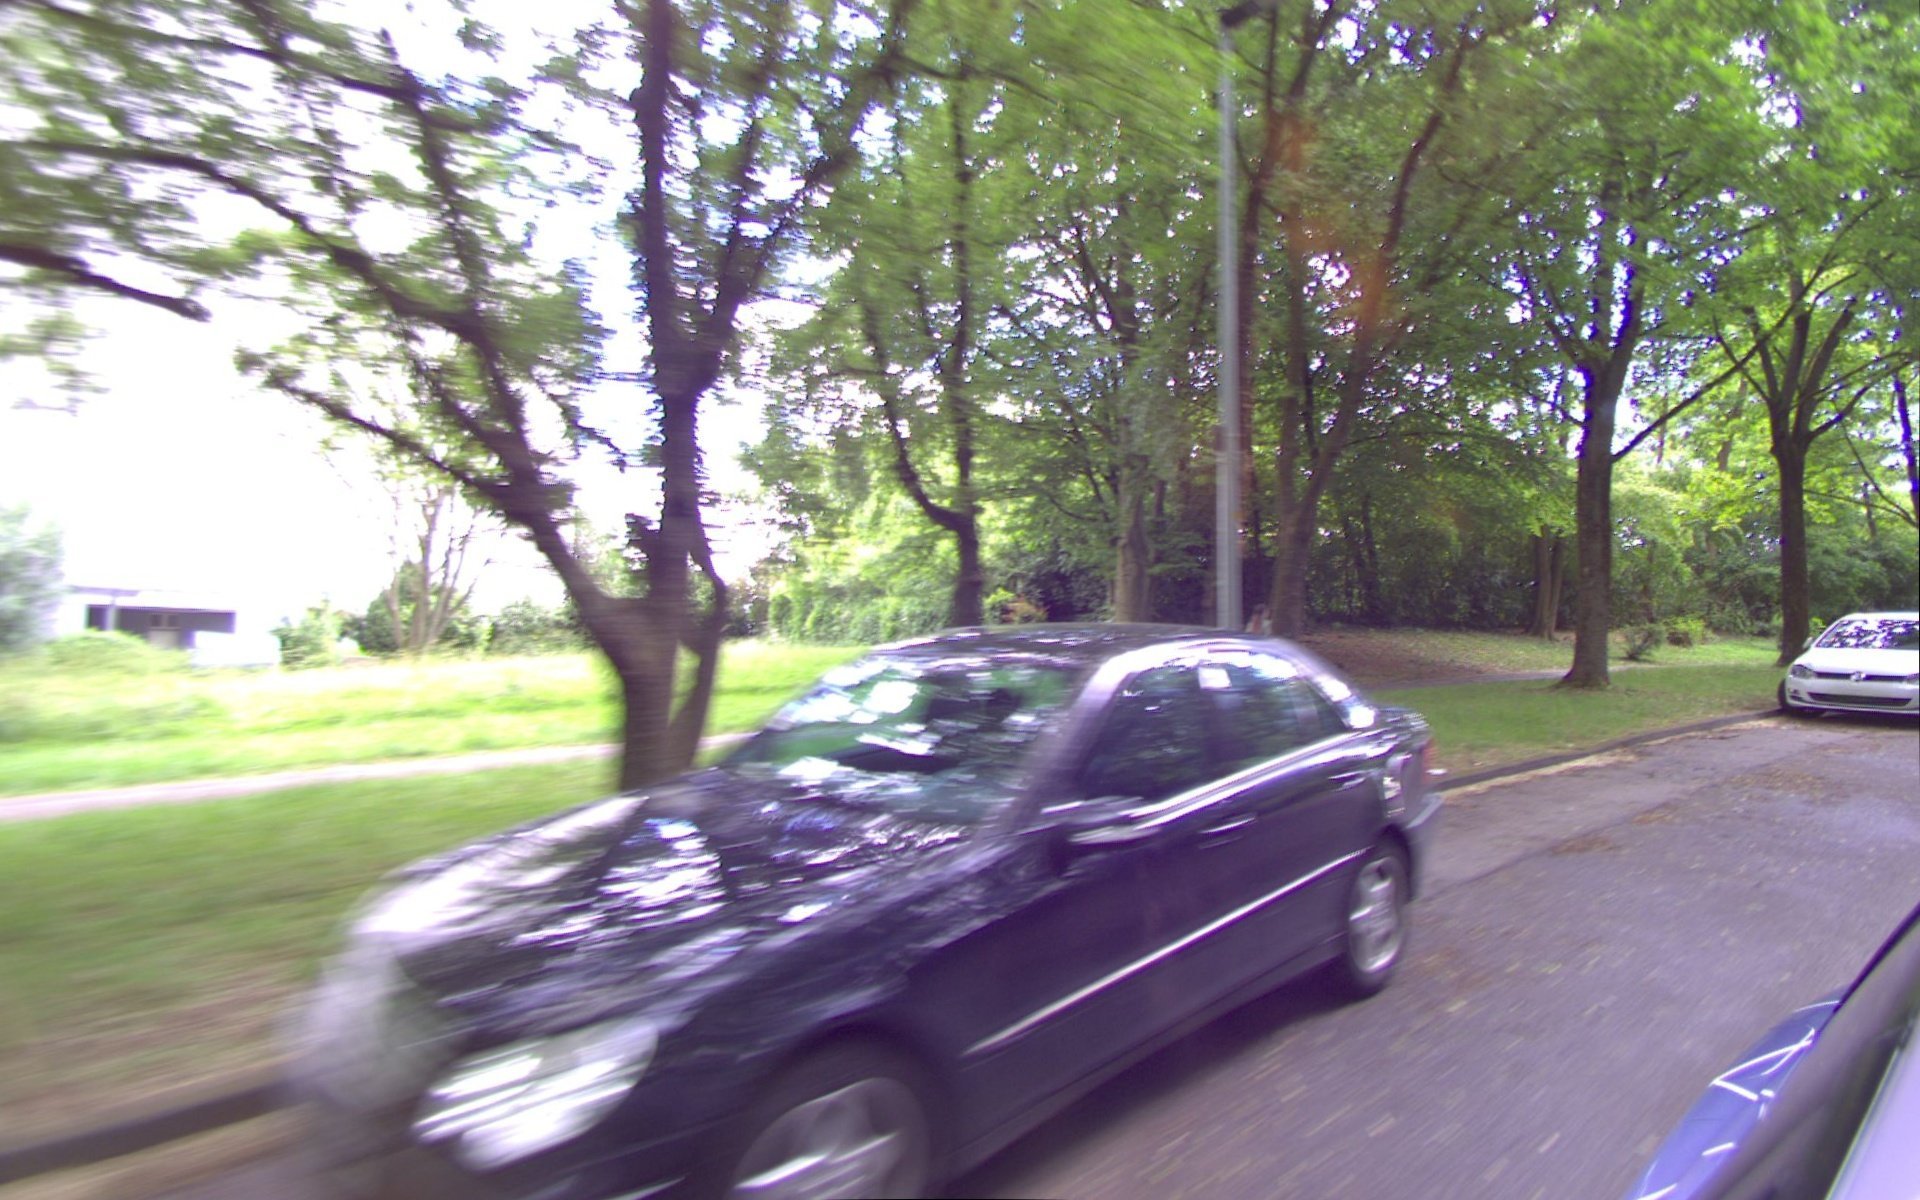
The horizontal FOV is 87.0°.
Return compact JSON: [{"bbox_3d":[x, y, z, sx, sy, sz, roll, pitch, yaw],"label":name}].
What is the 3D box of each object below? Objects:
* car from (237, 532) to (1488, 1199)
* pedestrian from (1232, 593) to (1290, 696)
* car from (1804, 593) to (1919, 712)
[{"bbox_3d":[0.214,0.648,3.529,4.245,1.483,1.591,1,3,-45],"label":"car"},{"bbox_3d":[5.071,0.736,17.045,0.580,1.673,0.859,-2,-2,43],"label":"pedestrian"},{"bbox_3d":[13.505,0.675,14.203,4.031,1.501,1.693,0,-2,-38],"label":"car"}]
